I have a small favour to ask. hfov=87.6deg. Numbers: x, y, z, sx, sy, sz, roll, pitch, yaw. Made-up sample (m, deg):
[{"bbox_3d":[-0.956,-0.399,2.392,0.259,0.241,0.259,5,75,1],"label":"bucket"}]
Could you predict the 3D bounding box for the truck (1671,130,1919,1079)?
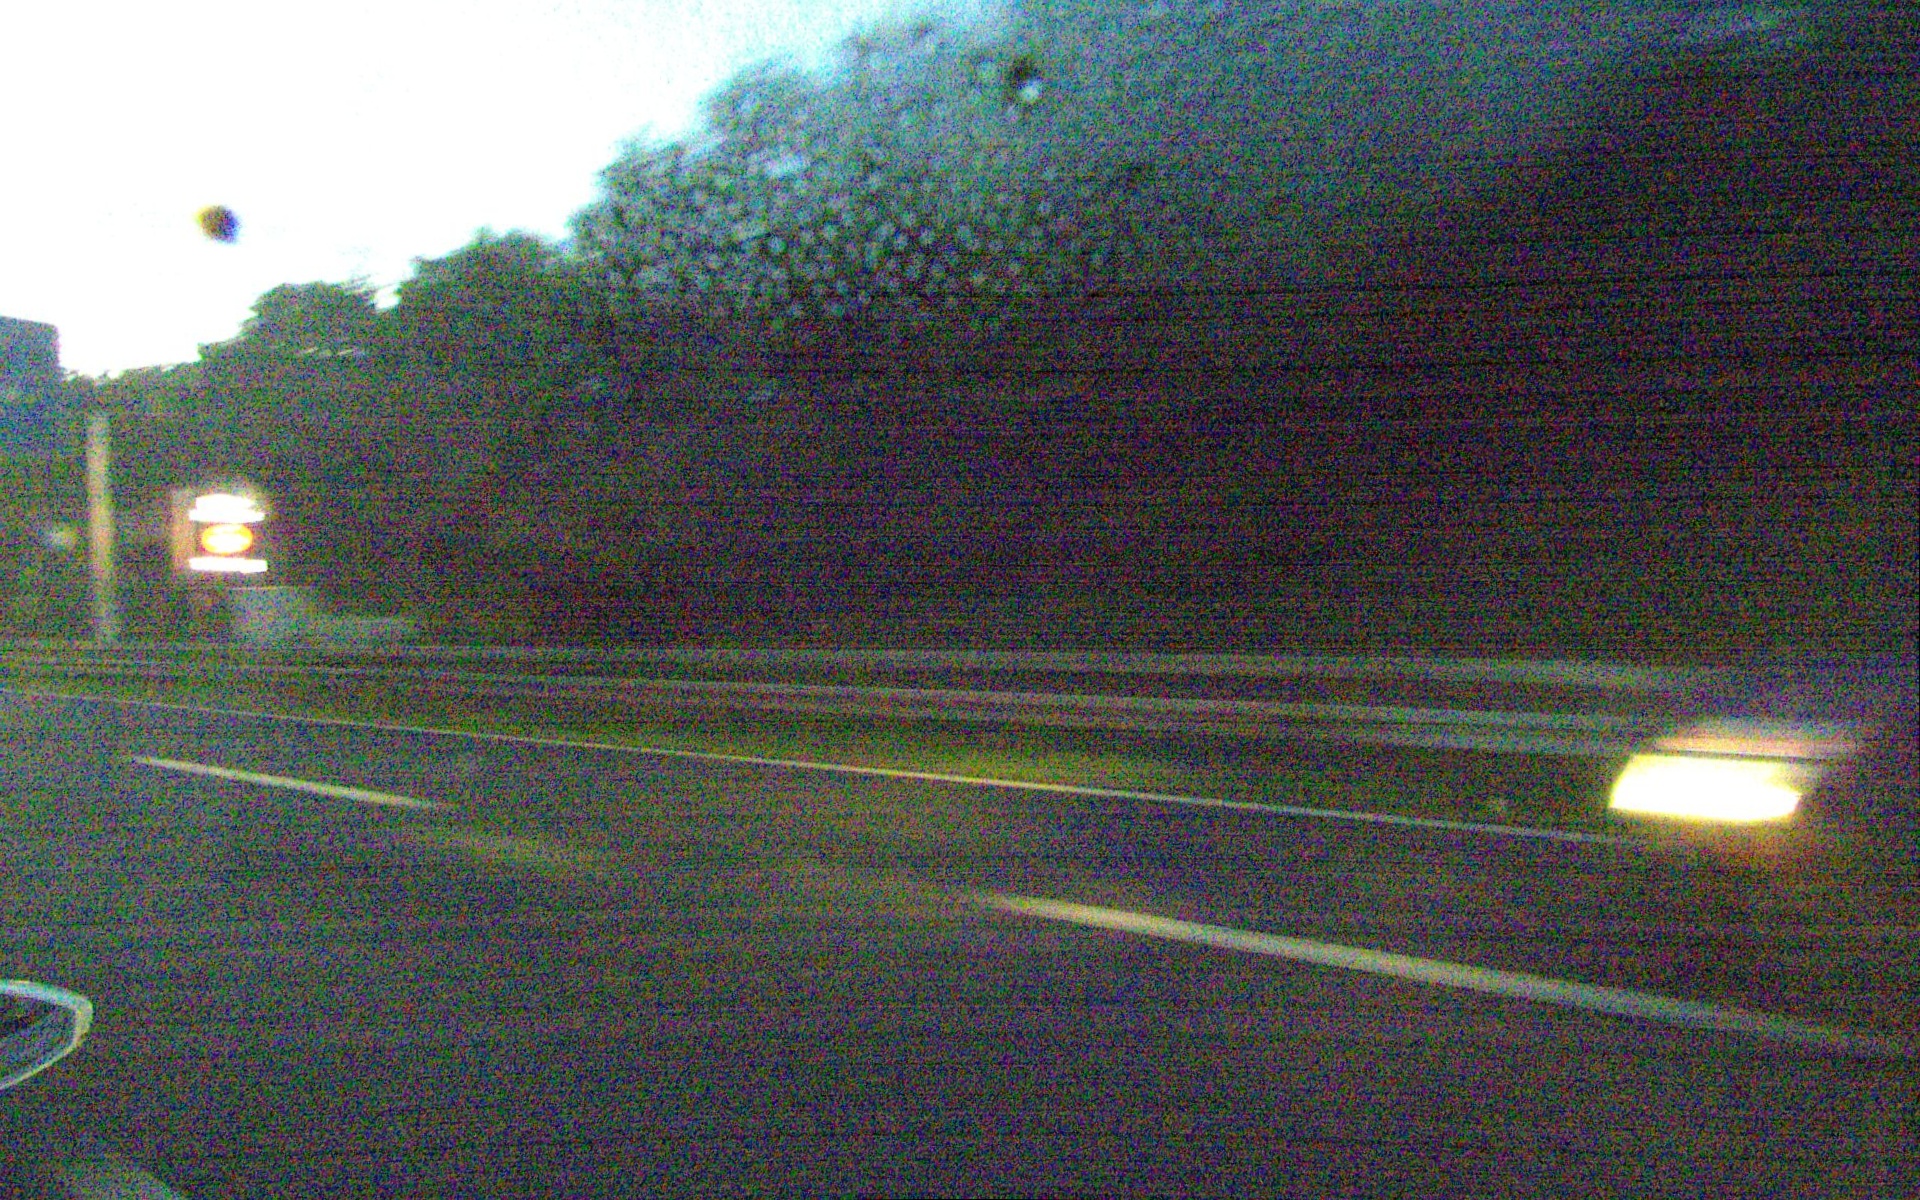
[{"bbox_3d":[6.033,0.011,2.687,6.534,3.010,2.265,-1,-1,31],"label":"truck"}]
